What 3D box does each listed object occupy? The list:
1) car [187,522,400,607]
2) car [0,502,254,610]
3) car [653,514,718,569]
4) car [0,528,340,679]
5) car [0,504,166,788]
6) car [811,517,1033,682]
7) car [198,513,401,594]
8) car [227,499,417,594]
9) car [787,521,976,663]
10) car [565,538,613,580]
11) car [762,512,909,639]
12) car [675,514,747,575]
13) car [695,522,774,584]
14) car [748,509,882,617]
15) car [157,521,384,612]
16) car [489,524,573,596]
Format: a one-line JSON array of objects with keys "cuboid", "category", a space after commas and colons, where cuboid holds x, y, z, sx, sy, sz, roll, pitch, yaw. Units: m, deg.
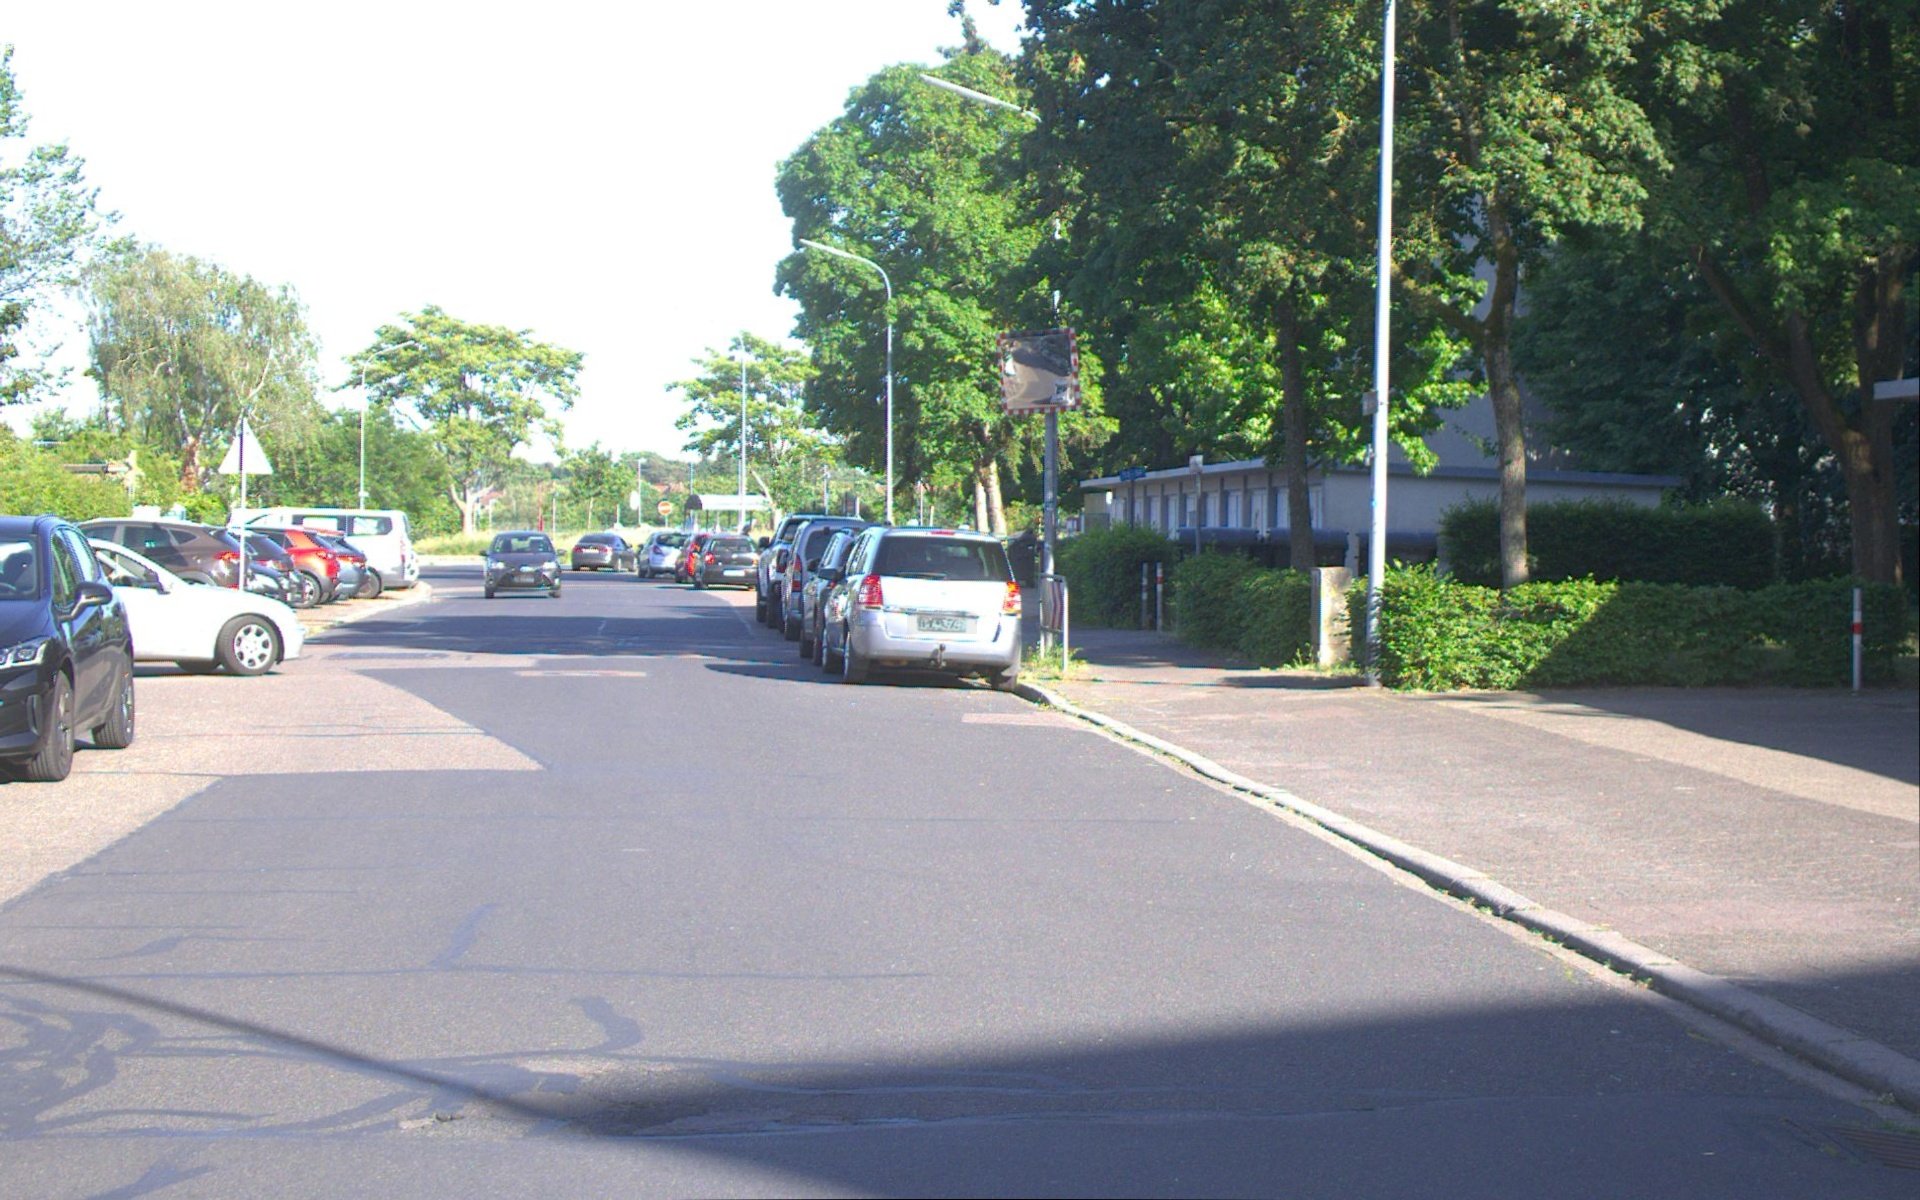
[{"cuboid": [-13.169, -0.706, 68.067, 4.053, 1.556, 1.802, 1, 1, -10], "category": "car"}, {"cuboid": [-13.076, -0.687, 53.337, 4.053, 1.556, 1.802, 1, 1, -10], "category": "car"}, {"cuboid": [-8.618, -1.860, 107.682, 1.795, 1.638, 3.953, 2, 1, -7], "category": "car"}, {"cuboid": [-8.691, 0.011, 34.836, 4.386, 1.431, 1.844, -1, 1, -27], "category": "car"}, {"cuboid": [-6.199, 0.219, 21.609, 1.746, 1.607, 4.309, -1, 1, -5], "category": "car"}, {"cuboid": [-0.452, -0.046, 35.360, 1.795, 1.556, 3.953, 1, 1, -7], "category": "car"}, {"cuboid": [-13.649, -0.965, 71.231, 4.053, 1.556, 1.802, 1, 1, -10], "category": "car"}, {"cuboid": [-14.177, -1.203, 76.524, 4.053, 1.985, 1.802, 1, 1, -10], "category": "car"}, {"cuboid": [-0.978, -0.132, 40.695, 1.795, 1.556, 3.953, 1, 1, -7], "category": "car"}, {"cuboid": [-14.097, -1.572, 130.517, 1.679, 1.508, 4.105, 2, 1, -7], "category": "car"}, {"cuboid": [-1.894, -0.396, 51.238, 1.795, 1.780, 3.953, 1, 1, -7], "category": "car"}, {"cuboid": [-7.102, -1.589, 97.654, 1.795, 1.638, 3.953, 1, 1, -7], "category": "car"}, {"cuboid": [-5.947, -1.239, 90.287, 1.795, 1.543, 3.953, 1, 1, -7], "category": "car"}, {"cuboid": [-2.372, -0.618, 55.418, 1.795, 1.638, 3.953, 1, 1, -7], "category": "car"}, {"cuboid": [-12.799, -0.633, 64.005, 4.053, 1.556, 1.802, 1, 1, -10], "category": "car"}, {"cuboid": [-9.720, -0.924, 77.846, 1.795, 1.556, 3.953, 1, 1, -7], "category": "car"}]
